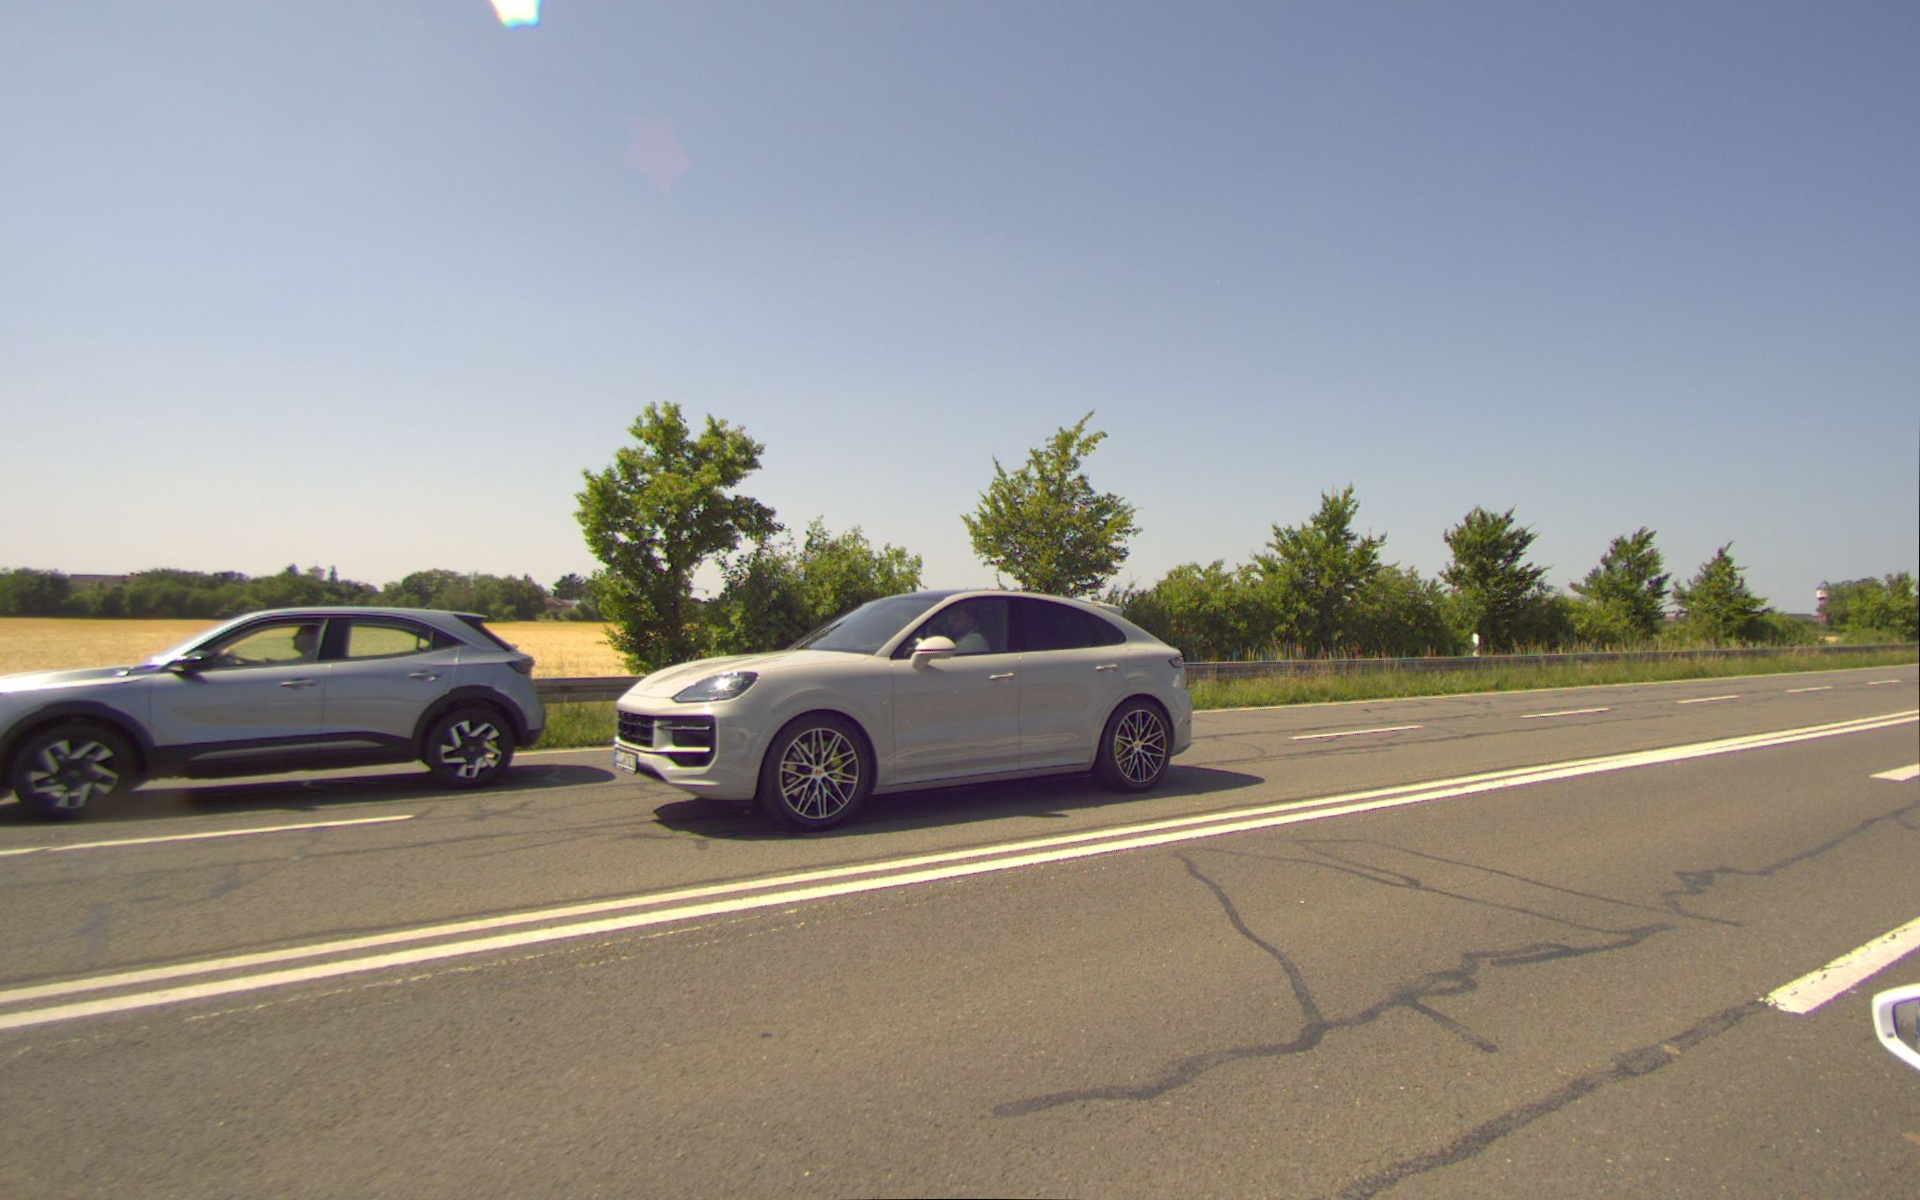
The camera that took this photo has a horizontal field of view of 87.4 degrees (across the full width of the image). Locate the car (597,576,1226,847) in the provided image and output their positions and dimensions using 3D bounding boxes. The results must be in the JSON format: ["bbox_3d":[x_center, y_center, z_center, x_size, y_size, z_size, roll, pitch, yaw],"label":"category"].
[{"bbox_3d":[-0.218,0.754,8.086,4.824,1.607,1.830,1,-3,-34],"label":"car"}]

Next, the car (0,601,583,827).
[{"bbox_3d":[-5.538,0.832,8.548,4.084,1.528,1.808,1,-3,-34],"label":"car"}]
